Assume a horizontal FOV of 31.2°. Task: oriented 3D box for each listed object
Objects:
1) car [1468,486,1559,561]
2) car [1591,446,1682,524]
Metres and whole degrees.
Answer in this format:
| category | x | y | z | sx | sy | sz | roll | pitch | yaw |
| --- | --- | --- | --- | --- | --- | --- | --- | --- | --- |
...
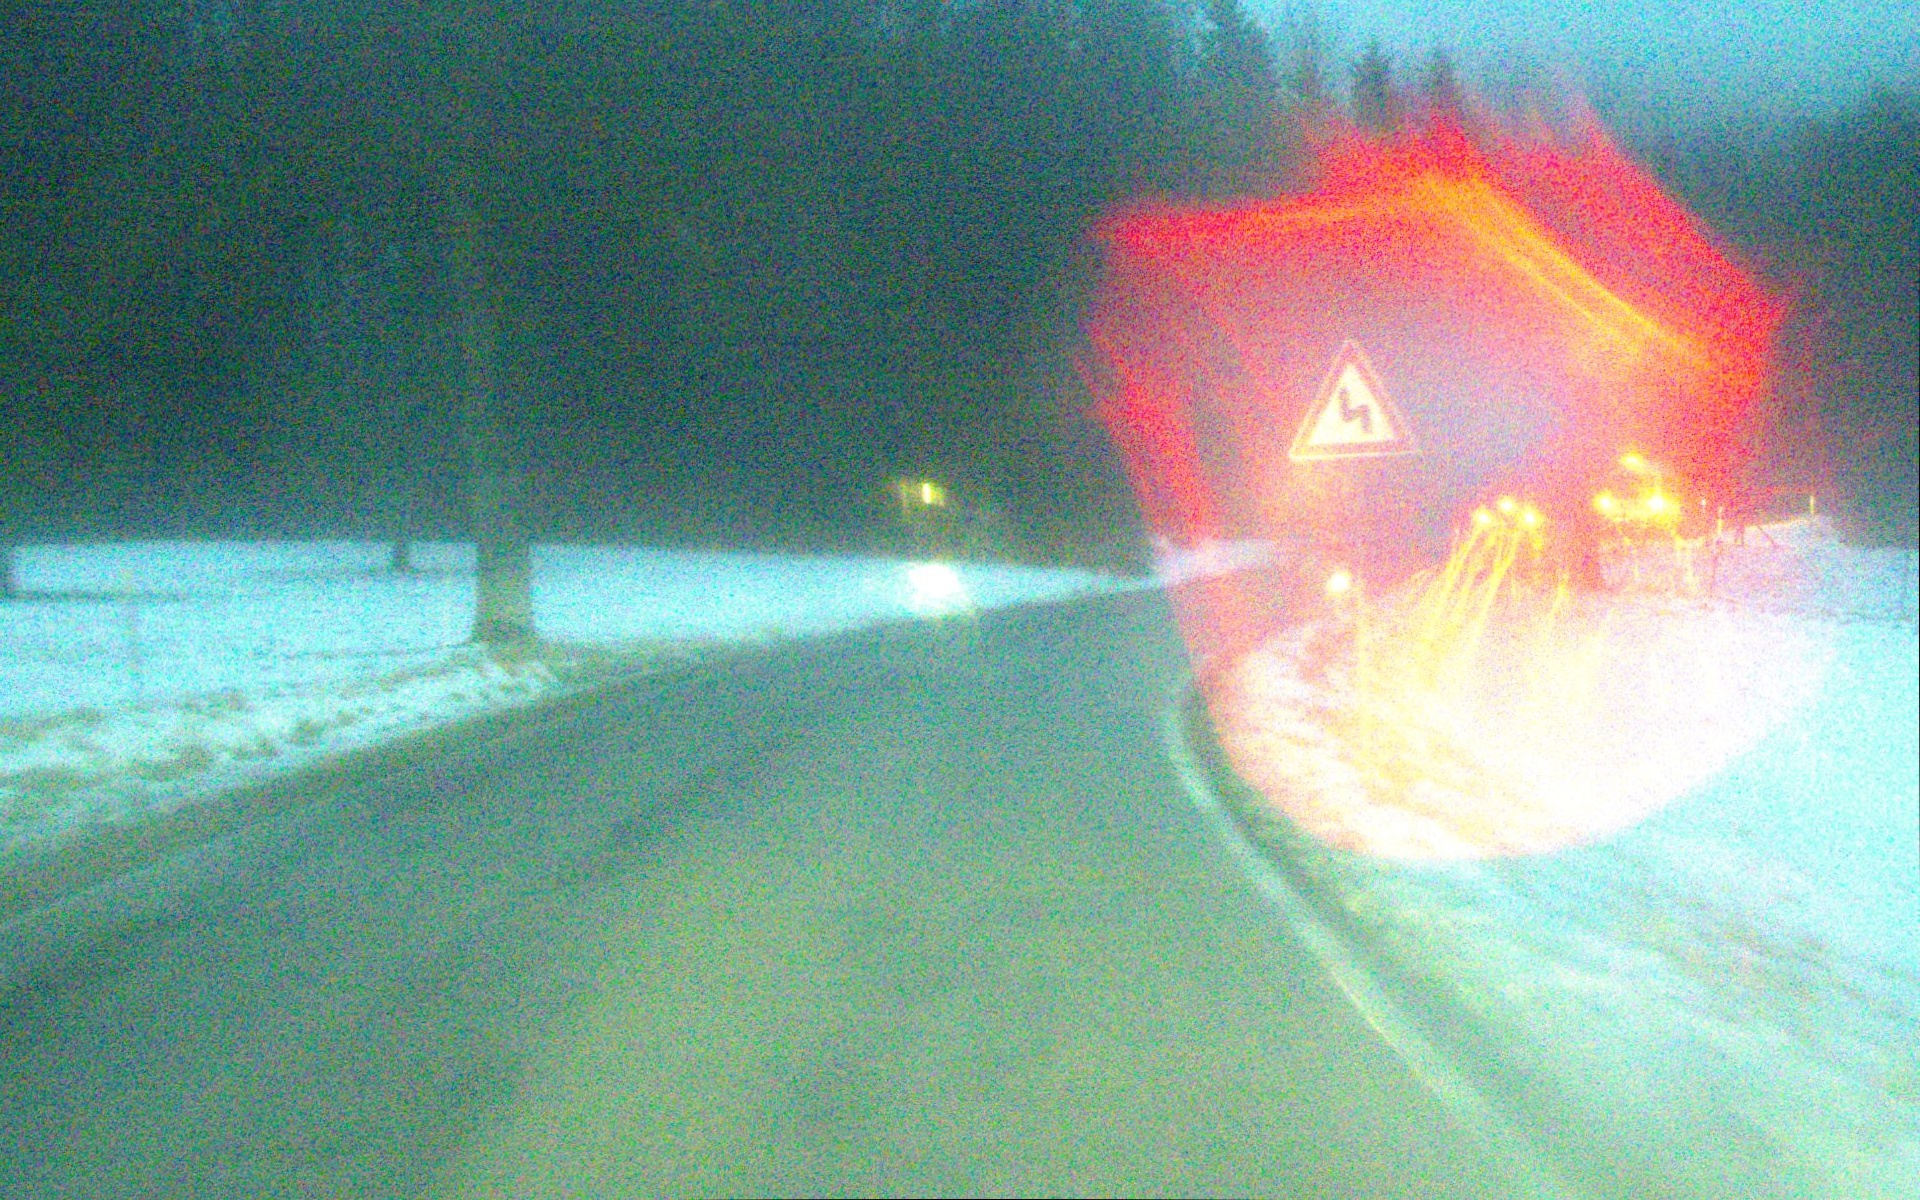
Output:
| category | x | y | z | sx | sy | sz | roll | pitch | yaw |
| --- | --- | --- | --- | --- | --- | --- | --- | --- | --- |
| car | 15.692 | -2.193 | 97.421 | 1.995 | 2.044 | 3.997 | 1 | 2 | 17 |
| car | 23.649 | -4.012 | 120.089 | 2.255 | 2.636 | 5.001 | 0 | 2 | 22 |
